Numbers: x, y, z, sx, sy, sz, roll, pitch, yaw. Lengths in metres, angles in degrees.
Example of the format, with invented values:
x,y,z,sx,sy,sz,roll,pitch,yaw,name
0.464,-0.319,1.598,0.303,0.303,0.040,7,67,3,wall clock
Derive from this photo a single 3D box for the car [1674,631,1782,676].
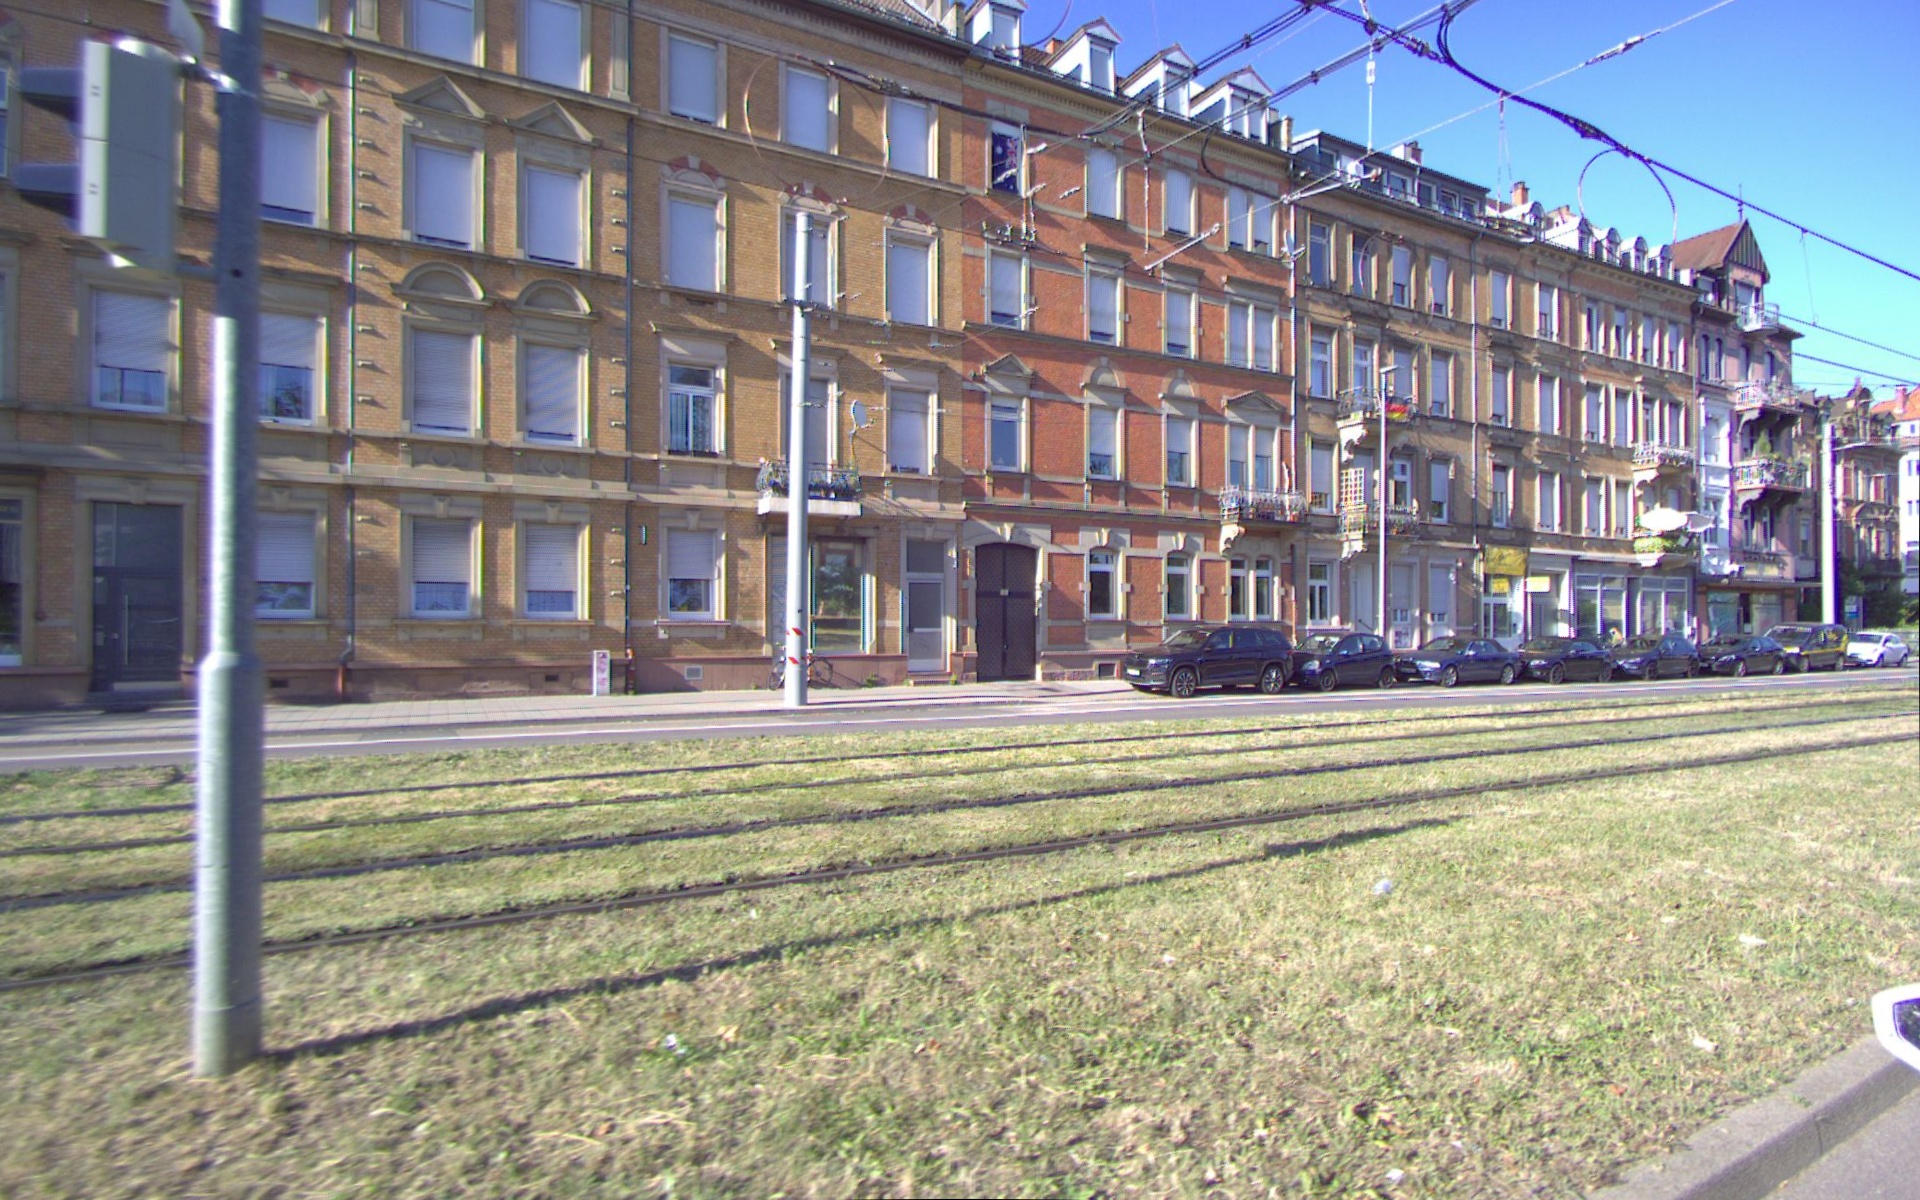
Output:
x,y,z,sx,sy,sz,roll,pitch,yaw,name
27.690,1.893,36.208,3.931,1.465,1.653,1,0,-29,car

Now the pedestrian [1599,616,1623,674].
x,y,z,sx,sy,sz,roll,pitch,yaw,name
23.182,1.592,35.777,0.625,2.040,0.875,2,0,32,pedestrian

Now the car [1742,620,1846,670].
x,y,z,sx,sy,sz,roll,pitch,yaw,name
32.642,1.735,39.271,4.673,1.831,1.651,1,0,-31,car

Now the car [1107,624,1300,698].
x,y,z,sx,sy,sz,roll,pitch,yaw,name
6.065,1.453,24.948,4.569,1.665,1.788,1,0,-26,car

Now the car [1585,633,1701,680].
x,y,z,sx,sy,sz,roll,pitch,yaw,name
23.177,1.881,34.078,3.931,1.465,1.653,1,0,-29,car

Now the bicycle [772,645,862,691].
x,y,z,sx,sy,sz,roll,pitch,yaw,name
-3.320,1.570,23.358,1.988,1.017,0.587,2,0,-31,bicycle

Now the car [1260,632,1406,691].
x,y,z,sx,sy,sz,roll,pitch,yaw,name
10.108,1.620,27.191,3.718,1.465,1.653,1,0,-28,car

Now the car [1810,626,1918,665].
x,y,z,sx,sy,sz,roll,pitch,yaw,name
38.782,1.942,43.098,4.566,1.559,1.914,1,-1,-26,car

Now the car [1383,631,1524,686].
x,y,z,sx,sy,sz,roll,pitch,yaw,name
14.545,1.667,29.564,4.144,1.465,1.653,1,0,-29,car

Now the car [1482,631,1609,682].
x,y,z,sx,sy,sz,roll,pitch,yaw,name
18.463,1.747,31.632,3.931,1.465,1.653,1,0,-29,car
